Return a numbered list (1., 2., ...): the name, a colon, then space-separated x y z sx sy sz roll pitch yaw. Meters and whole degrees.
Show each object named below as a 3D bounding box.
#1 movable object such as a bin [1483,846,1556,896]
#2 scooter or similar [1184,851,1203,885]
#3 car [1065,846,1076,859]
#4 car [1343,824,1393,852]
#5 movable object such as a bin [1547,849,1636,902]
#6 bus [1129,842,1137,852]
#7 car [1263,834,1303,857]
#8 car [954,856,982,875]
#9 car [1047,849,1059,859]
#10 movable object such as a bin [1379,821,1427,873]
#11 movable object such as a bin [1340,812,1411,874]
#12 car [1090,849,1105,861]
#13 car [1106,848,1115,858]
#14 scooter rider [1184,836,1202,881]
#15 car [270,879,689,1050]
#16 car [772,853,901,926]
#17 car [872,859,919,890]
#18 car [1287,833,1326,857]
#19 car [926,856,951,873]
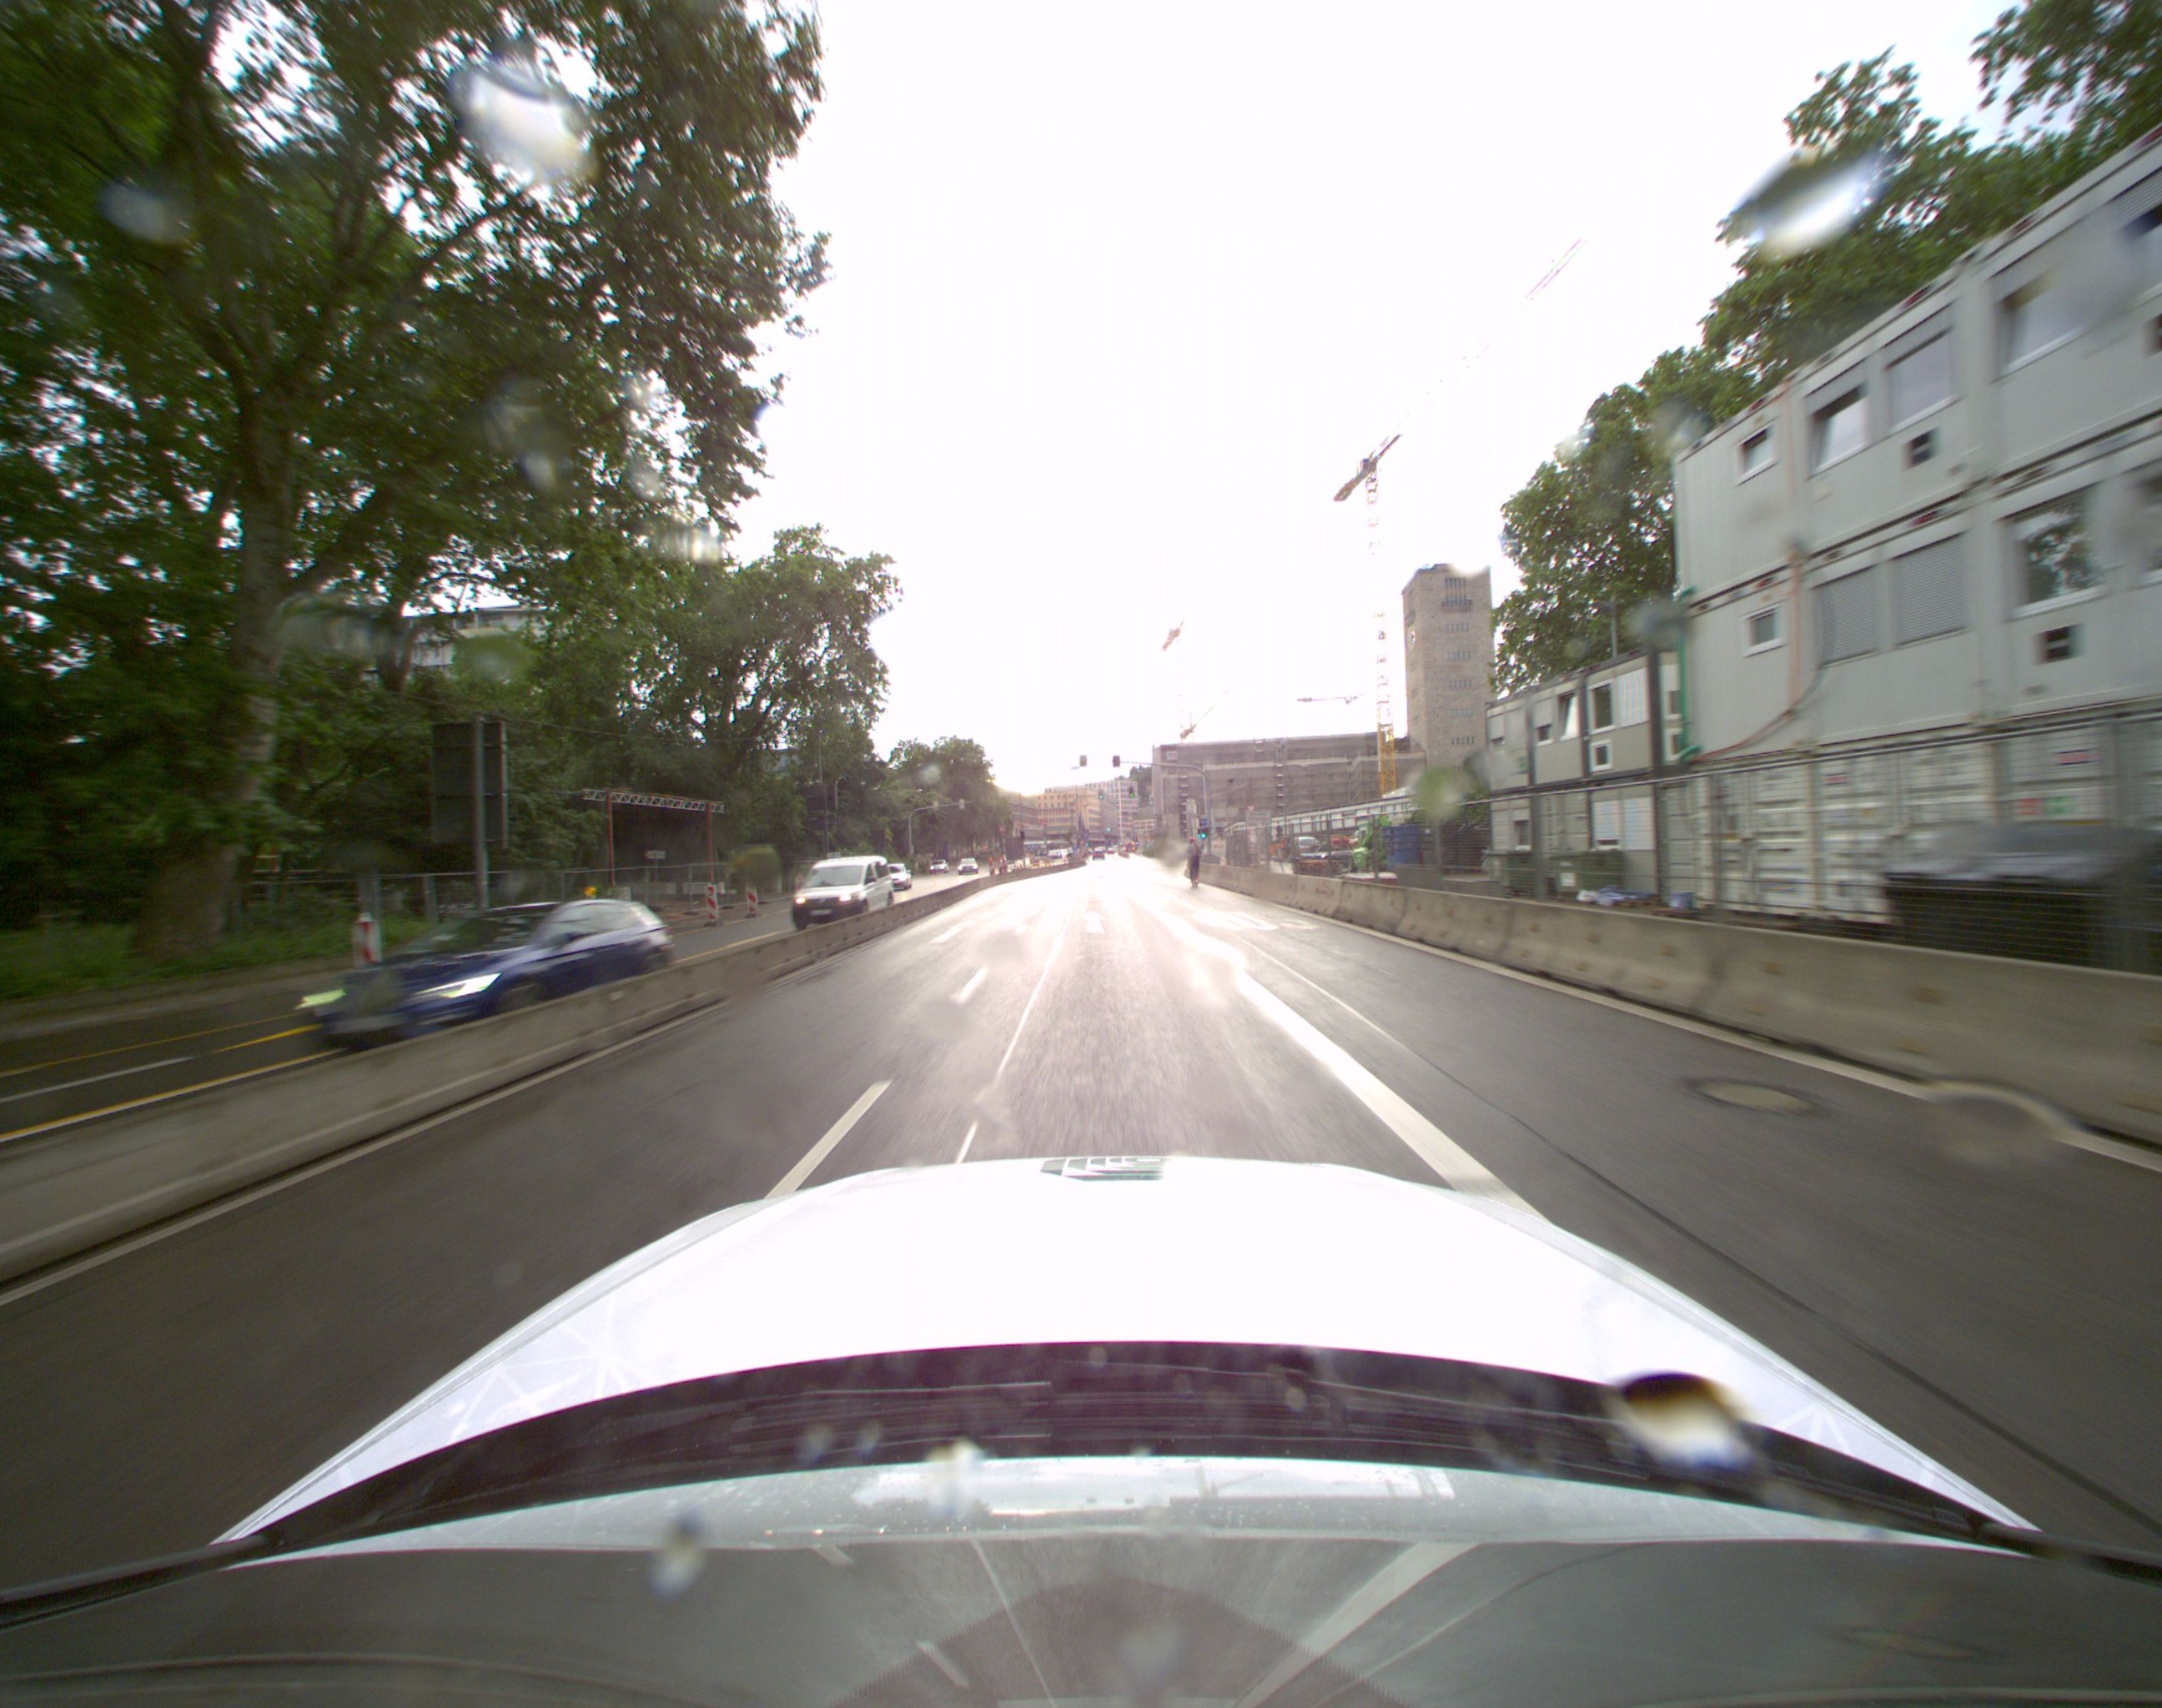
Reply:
1. movable object such as a bin: 11.978 0.469 22.289 1.242 1.237 1.239 -4 -2 0
2. scooter or similar: 4.501 0.535 32.666 0.594 1.319 1.669 -2 0 4
3. car: -1.872 -0.306 147.352 1.897 2.082 4.174 -4 -2 -1
4. car: 26.731 -1.446 76.088 2.042 2.313 5.594 -4 0 -5
5. movable object such as a bin: 12.009 0.510 19.207 1.242 1.123 1.239 -4 -2 0
6. bus: 15.423 -2.076 240.004 1.983 2.431 4.007 -5 -2 7
7. car: 18.149 -0.726 73.377 1.908 1.975 5.156 -2 0 -4
8. car: -10.421 1.109 75.406 1.989 1.541 4.574 -4 -2 -3
9. car: -5.008 0.046 146.794 1.897 1.528 4.174 -4 -2 -1
10. movable object such as a bin: 14.230 -0.306 36.029 1.462 2.203 1.256 -3 1 -22
11. movable object such as a bin: 14.357 -0.569 39.925 1.803 2.809 3.861 -2 1 -4
12. car: 2.425 0.195 118.827 1.897 1.528 4.174 -4 -2 -1
13. car: 7.413 -0.210 203.014 1.985 2.014 4.002 -4 -2 3
14. scooter rider: 4.482 0.177 32.649 0.594 1.785 0.998 -2 0 4
15. car: -6.480 1.068 9.474 1.706 1.339 4.062 -5 -1 1
16. car: -6.553 0.902 22.496 2.025 1.653 4.909 -5 -1 -1
17. car: -10.547 1.217 46.518 1.865 1.541 4.085 -4 -2 -3
18. car: 18.605 -0.785 67.415 1.840 1.806 5.088 -2 1 1
19. car: -15.490 1.157 88.652 1.989 1.541 4.439 -4 -2 -3
